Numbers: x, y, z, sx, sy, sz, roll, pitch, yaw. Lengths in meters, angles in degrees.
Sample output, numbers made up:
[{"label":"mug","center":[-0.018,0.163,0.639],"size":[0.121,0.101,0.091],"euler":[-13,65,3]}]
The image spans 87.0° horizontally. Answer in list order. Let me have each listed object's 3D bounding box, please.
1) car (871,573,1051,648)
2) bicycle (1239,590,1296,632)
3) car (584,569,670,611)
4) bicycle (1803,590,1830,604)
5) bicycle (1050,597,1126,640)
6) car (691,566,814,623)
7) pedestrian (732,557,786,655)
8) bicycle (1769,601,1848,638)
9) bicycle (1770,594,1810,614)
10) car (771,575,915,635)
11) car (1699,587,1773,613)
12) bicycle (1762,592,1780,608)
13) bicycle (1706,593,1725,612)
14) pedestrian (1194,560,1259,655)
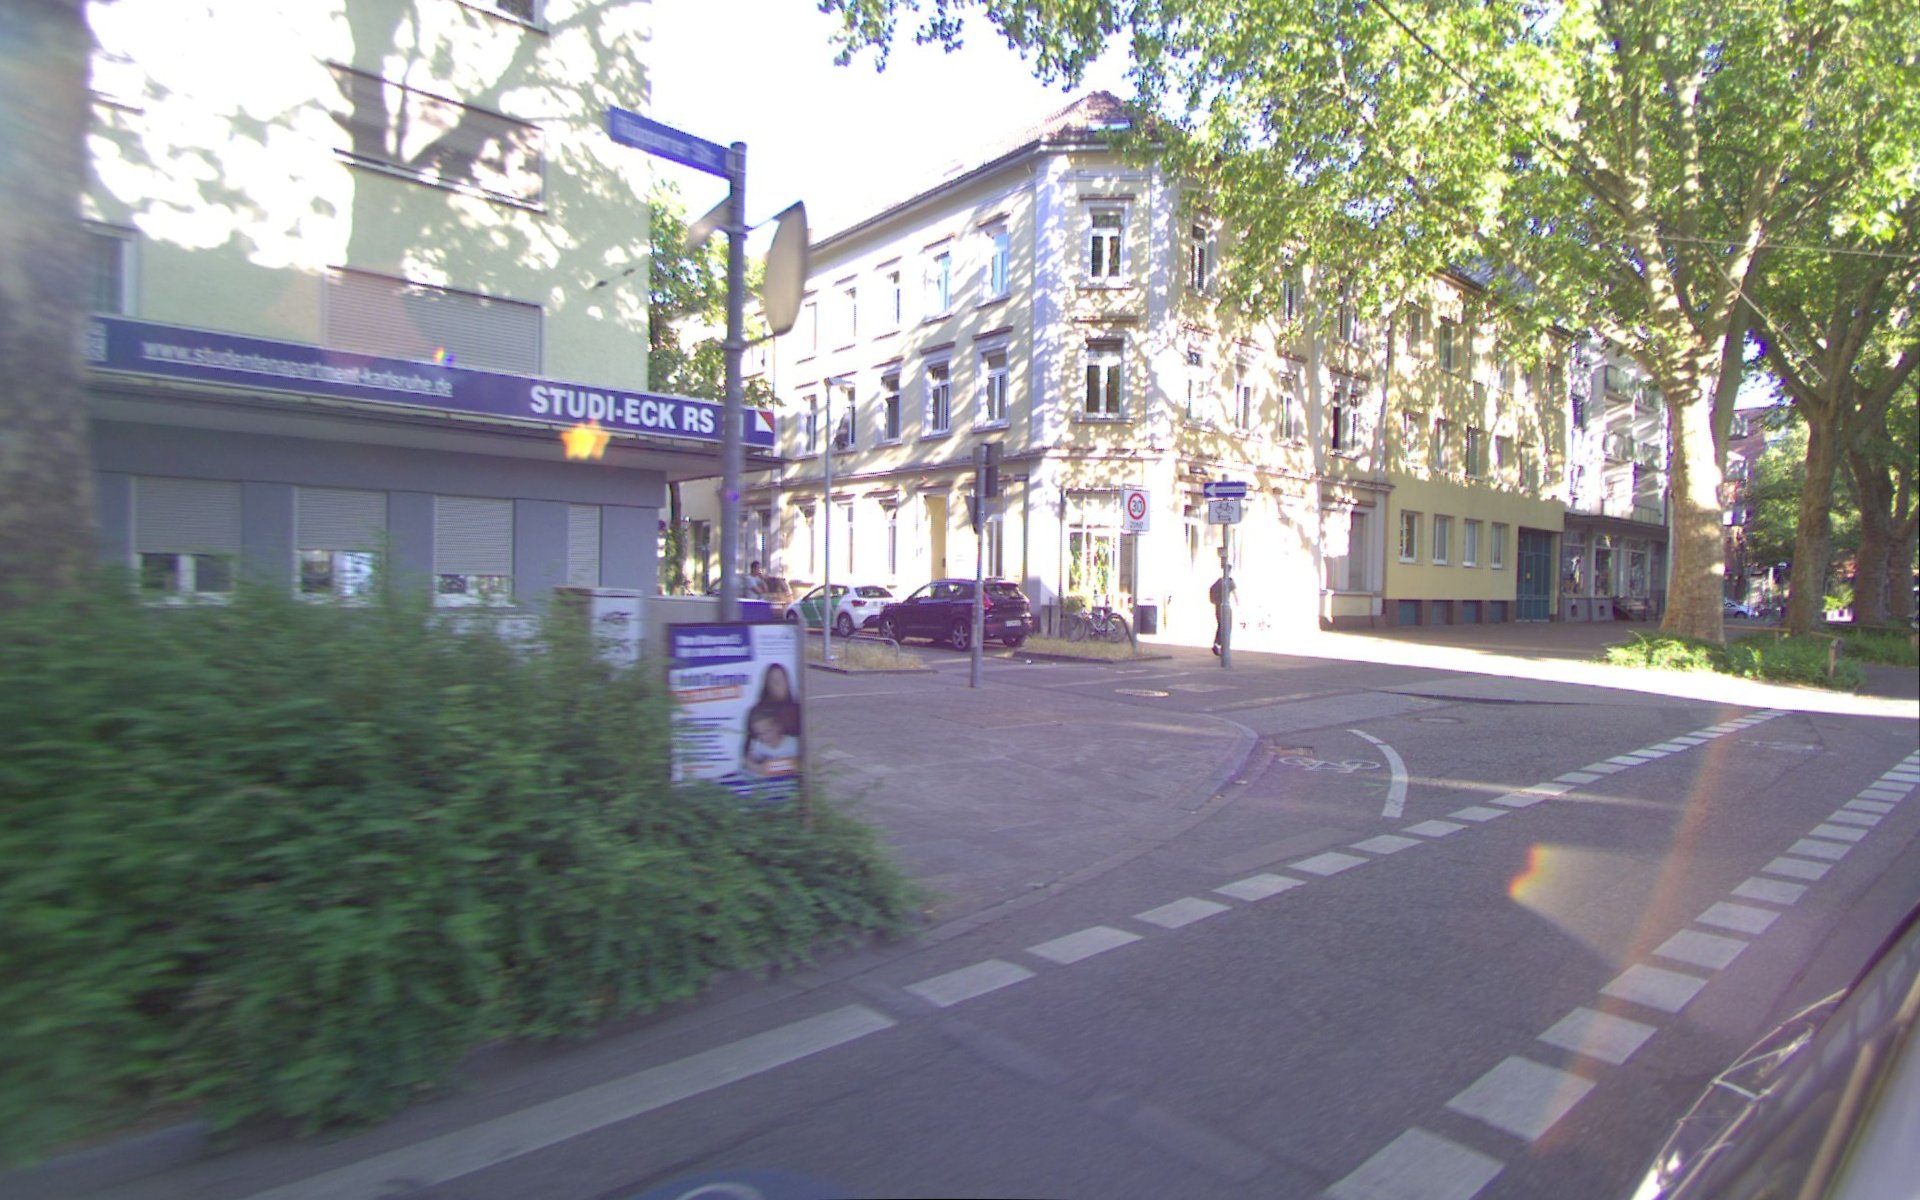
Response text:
[{"label":"car","center":[-0.053,0.183,24.147],"size":[1.968,1.613,4.133],"euler":[0,1,-45]},{"label":"bicycle","center":[8.735,0.297,28.712],"size":[1.889,1.117,0.583],"euler":[0,3,-41]},{"label":"car","center":[-13.294,-0.400,40.264],"size":[1.963,1.523,4.142],"euler":[3,-1,-38]},{"label":"bicycle","center":[76.951,-0.292,90.925],"size":[0.561,1.171,1.684],"euler":[0,3,-34]},{"label":"bicycle","center":[3.158,0.452,24.991],"size":[1.808,1.020,0.567],"euler":[0,0,15]},{"label":"car","center":[-6.687,-0.181,32.358],"size":[1.966,1.657,4.136],"euler":[3,-1,-43]},{"label":"pedestrian","center":[-3.546,0.093,17.798],"size":[0.654,1.665,0.748],"euler":[0,1,-39]},{"label":"bicycle","center":[27.132,0.601,32.395],"size":[0.500,1.018,1.975],"euler":[1,4,-14]},{"label":"bicycle","center":[52.173,0.242,63.614],"size":[1.781,1.171,0.738],"euler":[3,2,29]},{"label":"car","center":[-3.353,0.086,28.529],"size":[1.967,1.522,4.136],"euler":[-2,3,-43]},{"label":"car","center":[55.169,-0.033,71.952],"size":[1.833,1.714,3.870],"euler":[0,2,-40]},{"label":"bicycle","center":[59.486,0.008,74.215],"size":[1.666,1.171,0.602],"euler":[0,3,-38]},{"label":"bicycle","center":[42.114,0.153,56.383],"size":[0.571,1.009,1.752],"euler":[4,3,45]},{"label":"pedestrian","center":[5.480,0.139,20.791],"size":[1.169,1.890,0.767],"euler":[0,1,-44]}]
